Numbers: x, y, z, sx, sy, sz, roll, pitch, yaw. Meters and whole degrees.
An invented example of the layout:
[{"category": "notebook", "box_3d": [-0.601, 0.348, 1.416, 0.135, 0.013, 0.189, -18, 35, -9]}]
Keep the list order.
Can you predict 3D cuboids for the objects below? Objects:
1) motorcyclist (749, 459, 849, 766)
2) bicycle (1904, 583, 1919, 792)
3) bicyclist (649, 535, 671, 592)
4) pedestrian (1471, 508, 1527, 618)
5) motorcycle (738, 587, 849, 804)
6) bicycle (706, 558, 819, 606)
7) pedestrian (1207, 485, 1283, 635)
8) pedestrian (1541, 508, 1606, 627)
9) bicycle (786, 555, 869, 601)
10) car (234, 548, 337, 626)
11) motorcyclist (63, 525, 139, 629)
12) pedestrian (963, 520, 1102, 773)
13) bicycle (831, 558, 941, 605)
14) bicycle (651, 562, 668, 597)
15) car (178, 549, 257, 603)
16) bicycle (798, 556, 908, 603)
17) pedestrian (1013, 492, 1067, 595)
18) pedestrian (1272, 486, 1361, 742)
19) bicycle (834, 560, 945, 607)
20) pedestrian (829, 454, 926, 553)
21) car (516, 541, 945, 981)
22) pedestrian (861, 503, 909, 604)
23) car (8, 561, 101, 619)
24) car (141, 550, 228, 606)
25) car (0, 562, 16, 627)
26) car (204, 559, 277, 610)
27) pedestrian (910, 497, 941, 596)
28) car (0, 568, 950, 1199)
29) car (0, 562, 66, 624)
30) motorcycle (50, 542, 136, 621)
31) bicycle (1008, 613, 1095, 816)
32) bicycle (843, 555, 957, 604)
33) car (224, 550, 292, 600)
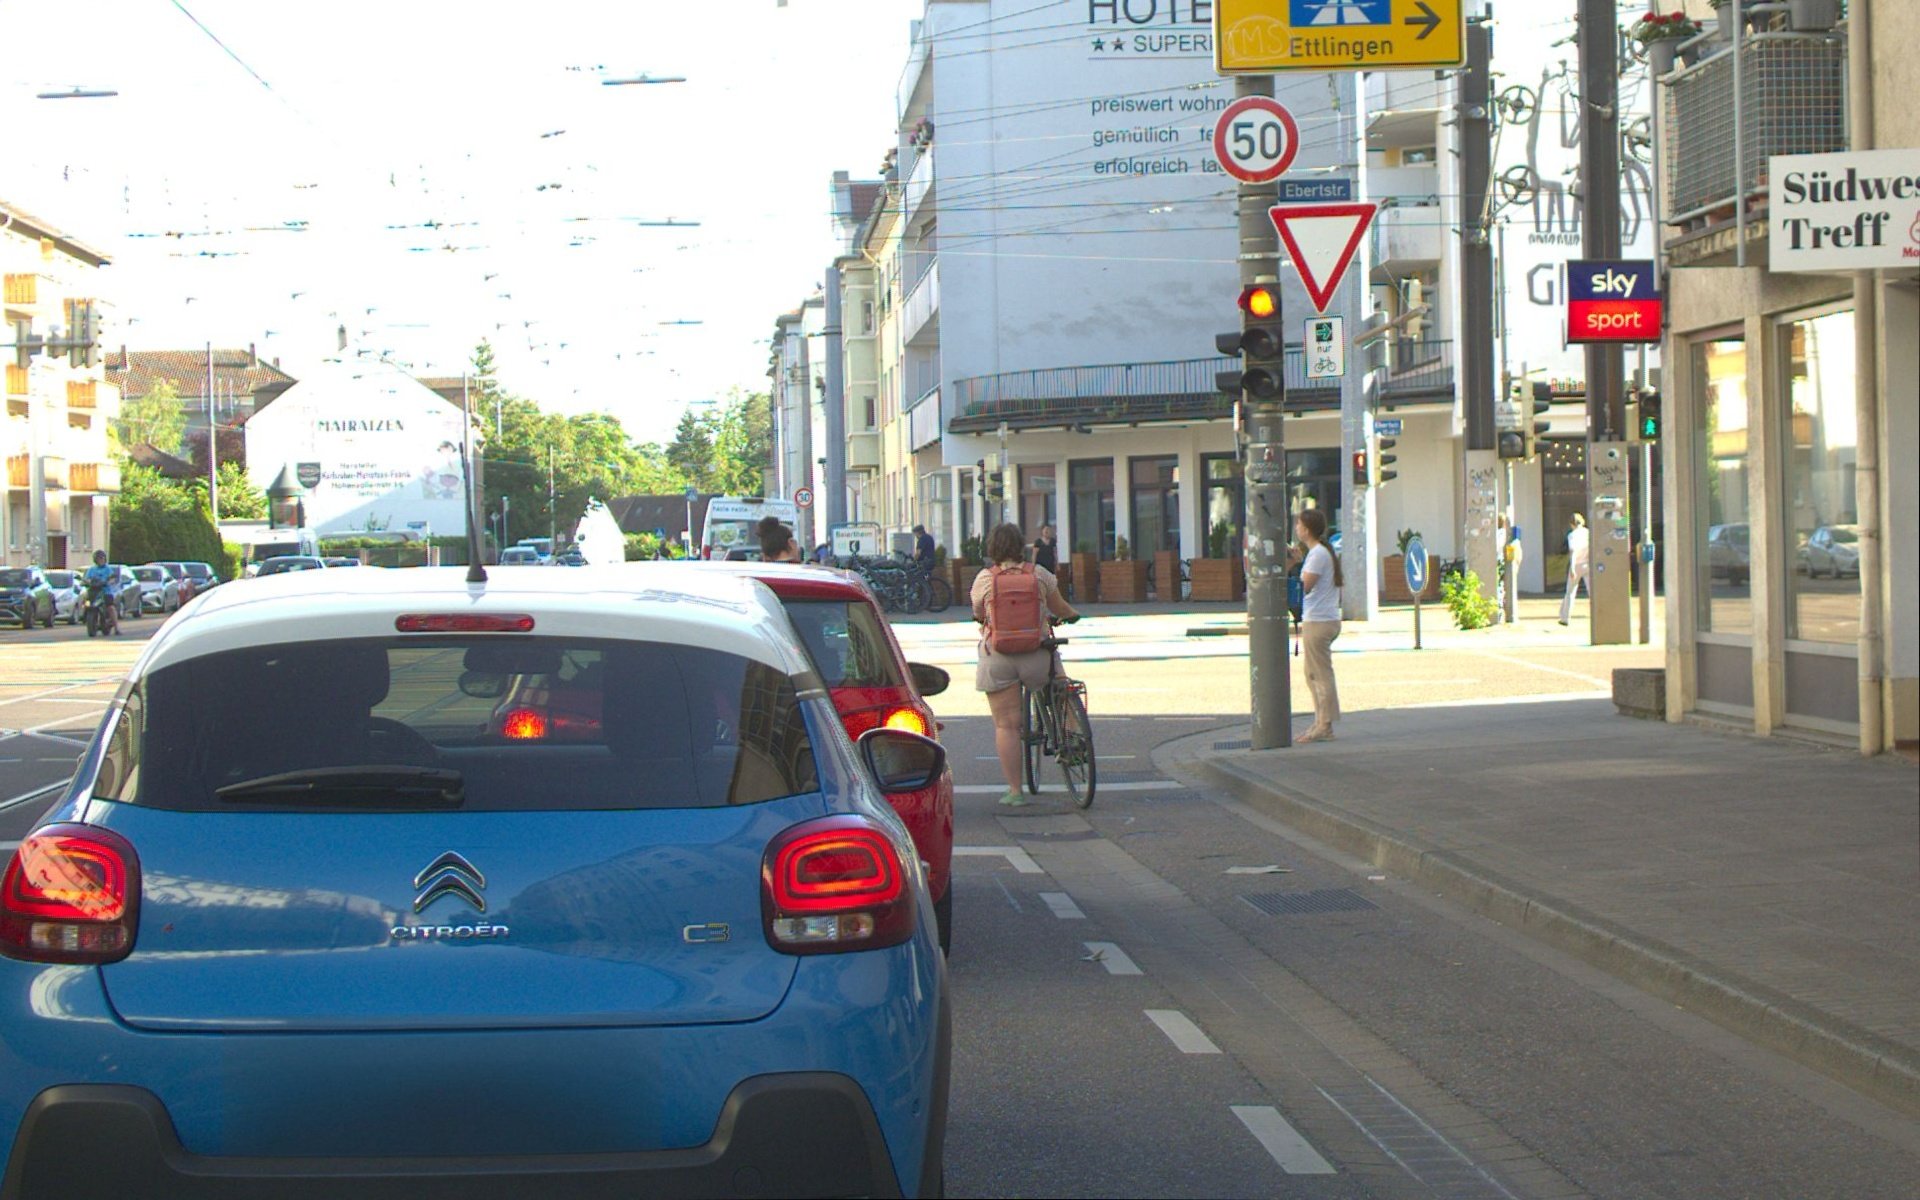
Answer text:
[{"category": "motorcyclist", "box_3d": [-0.914, 0.067, 19.627, 0.526, 1.710, 0.717, 1, 0, -1]}, {"category": "bicycle", "box_3d": [4.848, 0.427, 15.747, 0.542, 0.995, 1.706, 1, 1, -1]}, {"category": "bicyclist", "box_3d": [-7.905, -0.962, 90.541, 0.561, 1.472, 0.748, 1, 0, -6]}, {"category": "pedestrian", "box_3d": [7.908, -0.540, 50.494, 0.736, 1.595, 0.748, 1, 0, 5]}, {"category": "motorcycle", "box_3d": [-0.922, 0.502, 19.444, 0.526, 1.136, 2.290, 1, 1, -1]}, {"category": "bicycle", "box_3d": [-3.802, -0.349, 66.199, 2.132, 0.898, 0.367, 1, 0, -9]}, {"category": "pedestrian", "box_3d": [3.885, -0.546, 46.916, 0.926, 2.007, 0.759, 1, 0, -1]}, {"category": "pedestrian", "box_3d": [8.668, -0.462, 48.607, 0.752, 1.652, 0.883, 1, 0, 1]}, {"category": "bicycle", "box_3d": [-2.671, -0.438, 69.325, 1.785, 0.898, 0.366, 1, 1, 34]}, {"category": "car", "box_3d": [-14.963, -0.305, 76.416, 1.774, 1.660, 3.857, 1, 1, -4]}, {"category": "motorcyclist", "box_3d": [-16.806, -0.458, 67.289, 1.185, 2.007, 1.276, -1, 1, -3]}, {"category": "pedestrian", "box_3d": [0.421, 0.267, 20.233, 0.777, 1.455, 0.682, 1, 0, -1]}, {"category": "bicycle", "box_3d": [-1.456, -0.362, 67.672, 2.132, 0.898, 0.367, 1, 0, -9]}, {"category": "bicycle", "box_3d": [-7.940, -0.554, 90.816, 0.349, 0.900, 1.859, 1, 1, -2]}, {"category": "car", "box_3d": [-24.027, -0.781, 111.349, 1.882, 1.681, 4.001, 1, 1, -4]}, {"category": "bicycle", "box_3d": [-2.131, -0.408, 68.354, 2.132, 0.898, 0.367, 1, 0, -9]}, {"category": "pedestrian", "box_3d": [1.573, -1.105, 67.349, 0.709, 2.007, 0.759, 0, 1, -44]}, {"category": "pedestrian", "box_3d": [2.502, 0.096, 24.192, 0.517, 1.777, 0.595, 1, 0, -2]}, {"category": "bicycle", "box_3d": [-1.385, -0.326, 67.234, 2.132, 0.898, 0.367, 1, 0, -9]}, {"category": "pedestrian", "box_3d": [-1.745, -2.035, 73.538, 1.993, 2.007, 4.000, 1, 1, -1]}, {"category": "car", "box_3d": [-0.795, 0.534, 13.120, 1.424, 1.462, 2.924, -1, 0, -1]}, {"category": "pedestrian", "box_3d": [-1.512, -0.932, 69.207, 0.630, 2.007, 0.724, 1, 0, -36]}, {"category": "car", "box_3d": [-24.251, -0.277, 92.159, 1.732, 1.493, 4.001, 1, 1, -5]}, {"category": "car", "box_3d": [-23.962, -0.695, 106.370, 1.983, 1.681, 4.001, 1, 1, -3]}, {"category": "car", "box_3d": [-23.189, -0.132, 79.309, 1.787, 1.506, 4.150, 1, 1, -2]}, {"category": "car", "box_3d": [-24.402, -0.533, 116.676, 1.833, 1.681, 4.001, 1, 1, -4]}, {"category": "pedestrian", "box_3d": [-0.700, -1.086, 70.277, 0.577, 2.007, 0.626, 1, 0, -3]}, {"category": "car", "box_3d": [-0.872, 0.666, 7.182, 1.654, 1.439, 3.523, 1, 1, -1]}, {"category": "car", "box_3d": [-23.687, -0.193, 86.106, 1.785, 1.493, 4.001, 1, 1, -4]}, {"category": "motorcycle", "box_3d": [-16.841, -0.370, 66.849, 0.923, 1.481, 3.726, 1, 1, -3]}, {"category": "bicycle", "box_3d": [0.535, 0.654, 20.494, 0.427, 1.119, 1.998, 1, 1, -1]}, {"category": "bicycle", "box_3d": [-1.155, -0.395, 65.903, 2.132, 0.898, 0.367, 1, 0, -9]}, {"category": "car", "box_3d": [-24.756, -0.891, 121.320, 1.846, 1.681, 3.875, 1, 1, -4]}]
